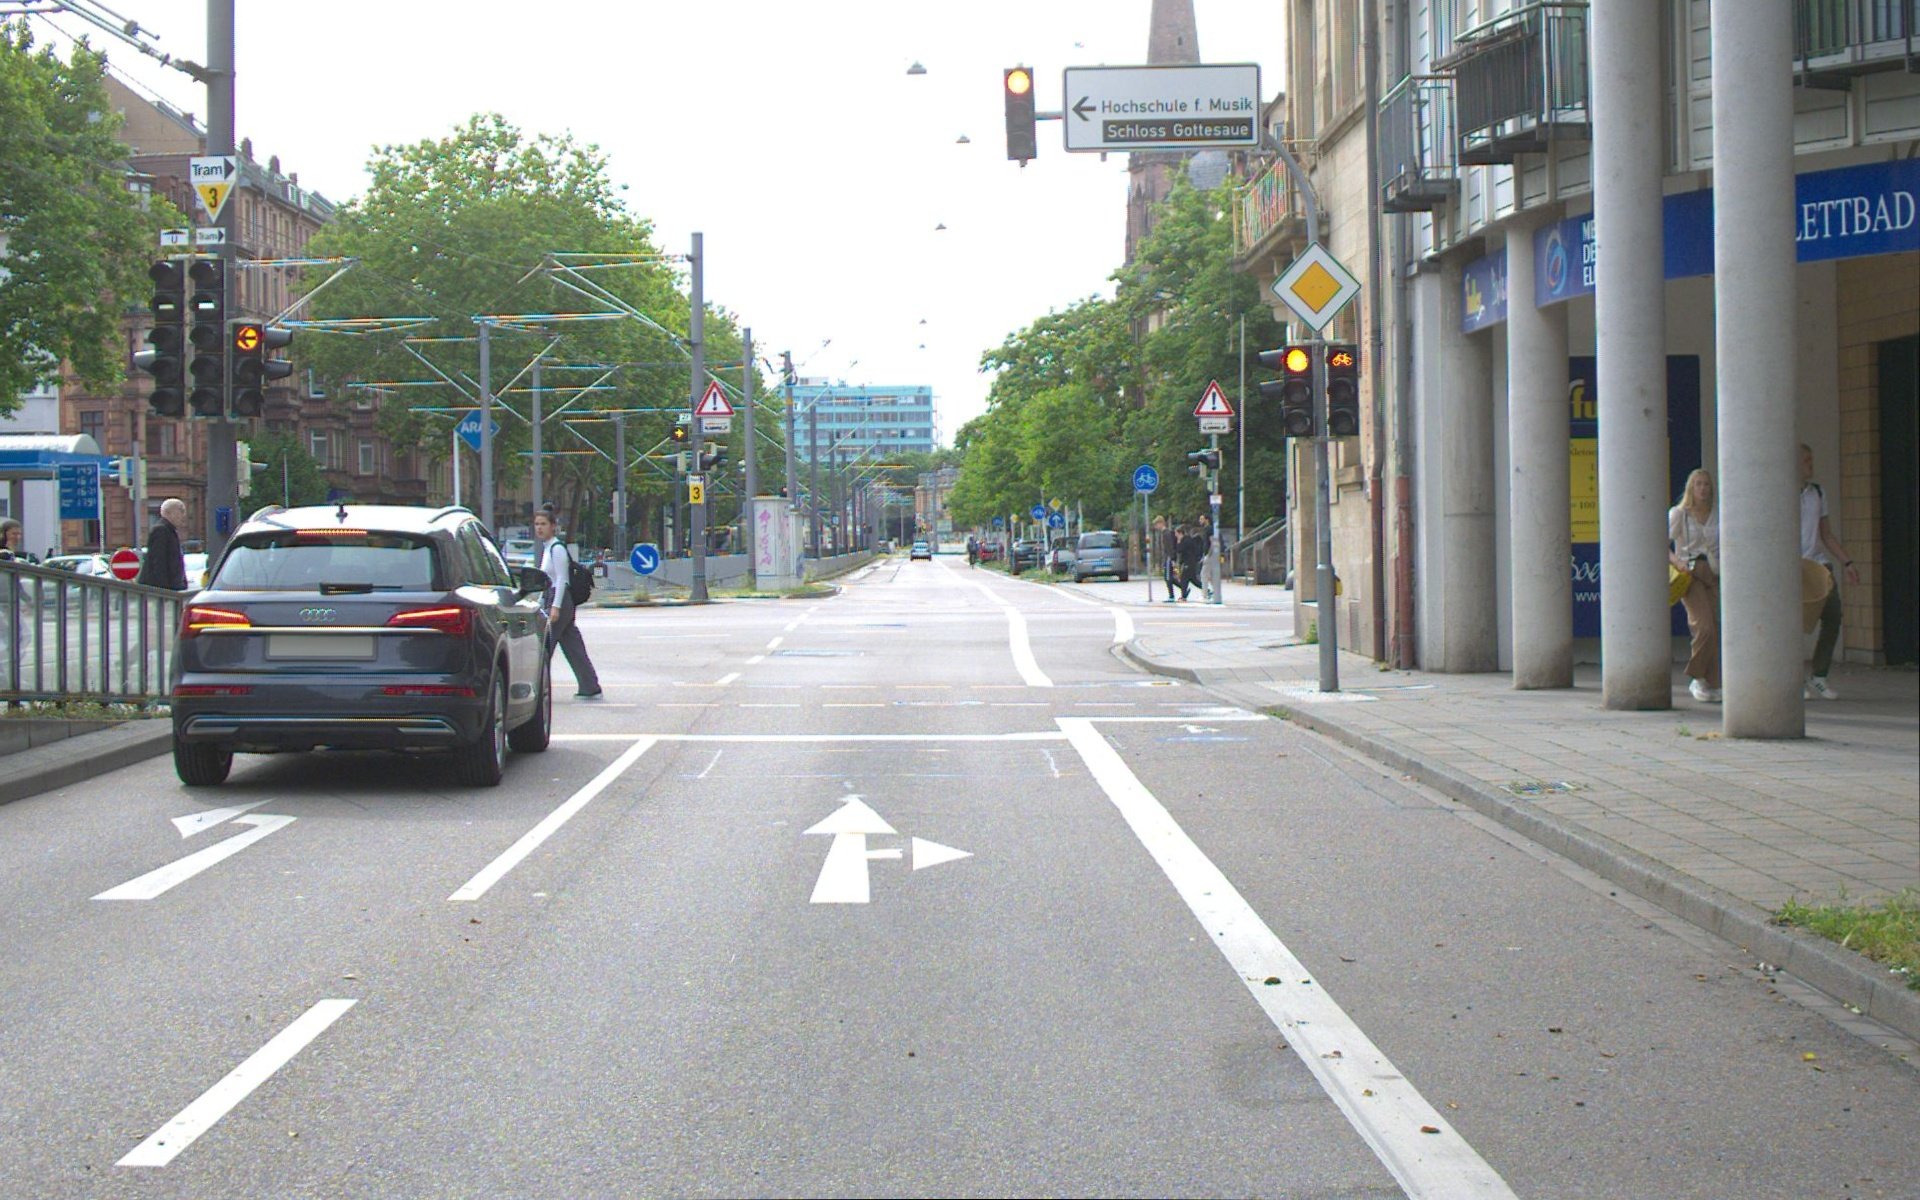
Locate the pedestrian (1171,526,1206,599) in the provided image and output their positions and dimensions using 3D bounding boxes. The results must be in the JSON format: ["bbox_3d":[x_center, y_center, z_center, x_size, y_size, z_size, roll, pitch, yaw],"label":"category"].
[{"bbox_3d":[4.814,-0.795,72.551,0.653,1.531,0.466,1,1,-5],"label":"pedestrian"}]

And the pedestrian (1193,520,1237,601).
[{"bbox_3d":[5.259,-0.812,70.917,0.850,1.648,0.508,1,1,-2],"label":"pedestrian"}]

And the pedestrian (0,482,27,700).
[{"bbox_3d":[-8.233,-0.069,28.107,1.130,1.772,0.628,-1,0,-18],"label":"pedestrian"}]

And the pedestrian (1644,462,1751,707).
[{"bbox_3d":[5.529,-0.119,25.808,0.615,1.799,0.737,-1,1,1],"label":"pedestrian"}]

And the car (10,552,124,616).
[{"bbox_3d":[-22.277,-0.415,85.866,1.894,1.552,3.836,1,1,-1],"label":"car"}]

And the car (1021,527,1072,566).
[{"bbox_3d":[3.714,-2.302,148.792,1.993,1.602,4.164,-2,1,-1],"label":"car"}]

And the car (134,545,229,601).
[{"bbox_3d":[-22.501,-0.793,99.478,1.894,1.552,3.836,1,1,-1],"label":"car"}]

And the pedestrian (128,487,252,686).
[{"bbox_3d":[-6.989,-0.130,31.204,0.917,1.778,0.646,1,1,37],"label":"pedestrian"}]

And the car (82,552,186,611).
[{"bbox_3d":[-22.246,-0.520,92.710,1.894,1.552,3.836,1,1,-1],"label":"car"}]

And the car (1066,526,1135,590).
[{"bbox_3d":[4.491,-1.362,110.551,1.993,2.007,4.000,1,1,-1],"label":"car"}]

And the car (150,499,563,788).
[{"bbox_3d":[-3.593,0.206,21.220,1.880,1.596,4.358,0,1,-1],"label":"car"}]

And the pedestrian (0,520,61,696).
[{"bbox_3d":[-8.785,0.065,31.433,0.702,1.587,0.829,1,1,37],"label":"pedestrian"}]

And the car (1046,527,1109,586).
[{"bbox_3d":[4.089,-1.510,119.984,1.993,2.007,4.000,1,1,-1],"label":"car"}]

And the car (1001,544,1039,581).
[{"bbox_3d":[3.349,-2.119,192.294,1.993,2.007,4.000,1,1,-1],"label":"car"}]

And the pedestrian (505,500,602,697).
[{"bbox_3d":[-3.468,-0.020,29.375,0.728,1.656,0.756,1,1,-1],"label":"pedestrian"}]

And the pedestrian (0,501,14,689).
[{"bbox_3d":[-8.904,-0.048,30.250,0.993,1.647,0.628,0,1,-28],"label":"pedestrian"}]

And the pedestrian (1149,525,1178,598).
[{"bbox_3d":[4.322,-0.818,73.035,0.545,1.531,0.466,1,1,-5],"label":"pedestrian"}]

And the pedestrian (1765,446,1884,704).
[{"bbox_3d":[6.462,-0.193,25.731,0.675,1.884,0.737,-1,1,1],"label":"pedestrian"}]
